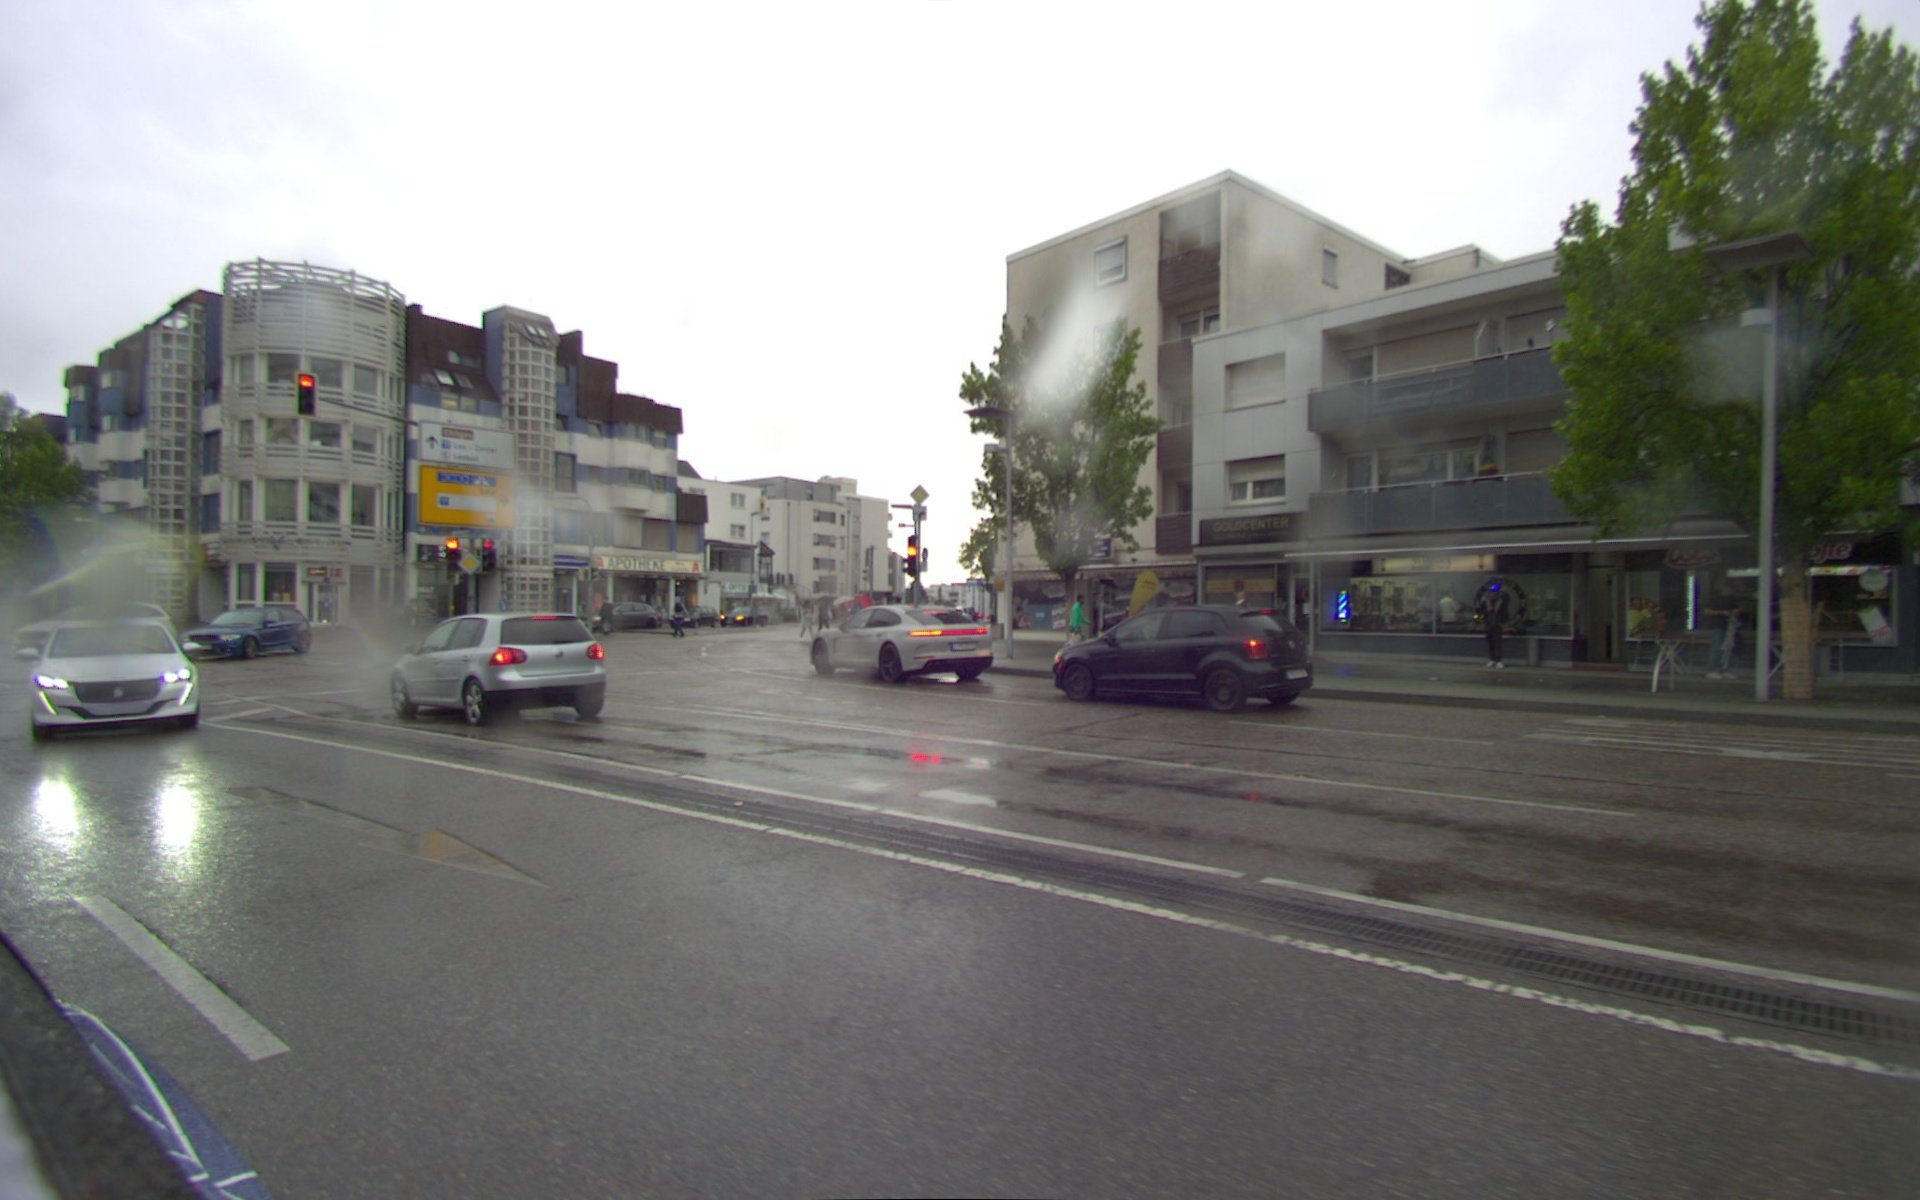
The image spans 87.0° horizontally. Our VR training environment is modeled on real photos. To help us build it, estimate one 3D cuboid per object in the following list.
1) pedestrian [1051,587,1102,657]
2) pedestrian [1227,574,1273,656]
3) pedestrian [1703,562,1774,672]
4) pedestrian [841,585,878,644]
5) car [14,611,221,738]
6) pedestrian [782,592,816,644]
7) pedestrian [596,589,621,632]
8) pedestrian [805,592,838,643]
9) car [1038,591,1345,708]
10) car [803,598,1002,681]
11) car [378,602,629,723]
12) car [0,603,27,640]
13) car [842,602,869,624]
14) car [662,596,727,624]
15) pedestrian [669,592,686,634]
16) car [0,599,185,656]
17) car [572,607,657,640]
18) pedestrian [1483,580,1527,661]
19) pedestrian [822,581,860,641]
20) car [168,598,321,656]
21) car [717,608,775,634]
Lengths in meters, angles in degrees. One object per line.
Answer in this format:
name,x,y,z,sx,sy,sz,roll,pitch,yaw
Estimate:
pedestrian,2.810,0.522,24.462,0.995,1.658,0.728,0,-1,-41
pedestrian,7.398,0.381,25.822,0.749,2.029,0.865,1,-2,-42
pedestrian,14.800,0.317,19.243,0.748,2.029,0.866,1,-2,-38
pedestrian,-3.538,0.510,35.649,0.892,2.029,0.979,1,-2,-42
car,-11.671,0.906,13.929,3.875,1.473,1.850,-1,-1,45
pedestrian,-6.058,0.674,38.023,0.892,1.929,0.979,1,-2,-42
pedestrian,-14.796,0.433,42.606,0.825,1.756,0.586,0,0,-35
pedestrian,-5.298,0.670,38.701,0.892,1.929,0.979,1,-2,-42
car,3.186,0.671,14.520,1.736,1.438,4.004,1,-2,-43
car,-1.283,0.706,19.957,1.733,1.438,4.901,0,-1,-33
car,-6.516,0.815,14.260,3.998,1.462,1.739,-2,-2,41
car,-44.352,0.855,45.328,3.962,1.537,1.893,4,0,14
car,-10.054,1.257,96.890,1.966,2.029,4.610,0,-1,-14
car,-16.569,0.640,63.346,1.741,1.733,3.855,-1,-1,31
pedestrian,-11.959,0.525,42.819,0.672,1.756,0.586,-1,0,-15
car,-26.082,0.761,30.588,1.741,1.561,4.320,-1,0,5
car,-16.329,1.091,48.042,1.625,1.501,3.805,-1,-1,26
pedestrian,12.115,0.447,22.504,0.541,1.763,0.682,1,-2,-39
pedestrian,-4.102,0.384,34.917,0.892,2.029,0.979,1,-2,-42
car,-20.600,0.784,29.351,1.654,1.555,3.912,-1,-1,0
car,-14.550,1.393,68.915,1.741,1.733,3.855,-1,-1,31
